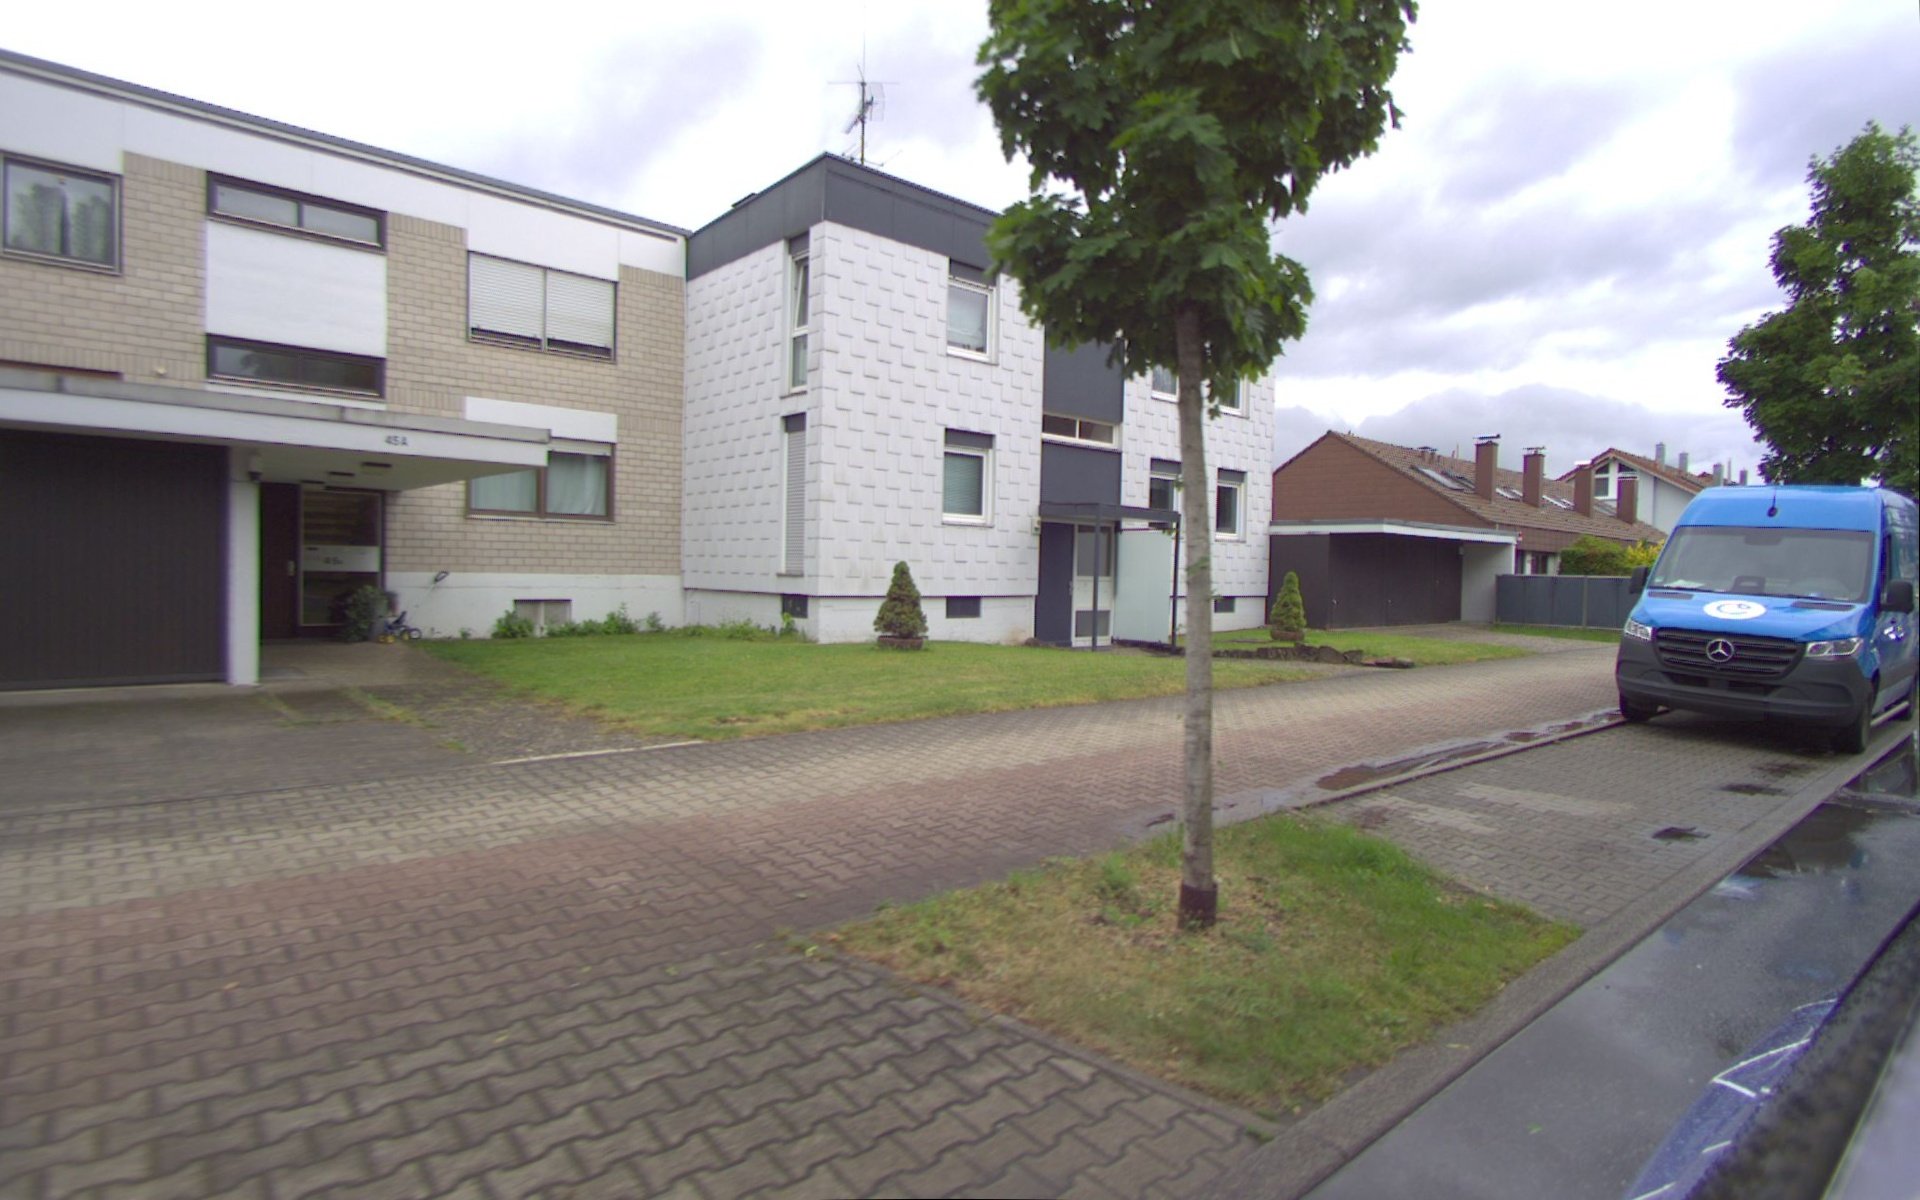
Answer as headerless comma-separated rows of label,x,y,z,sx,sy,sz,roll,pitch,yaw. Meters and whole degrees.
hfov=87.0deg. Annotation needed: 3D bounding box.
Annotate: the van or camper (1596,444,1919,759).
van or camper,9.255,-0.049,11.150,5.680,2.640,2.148,0,3,-41
